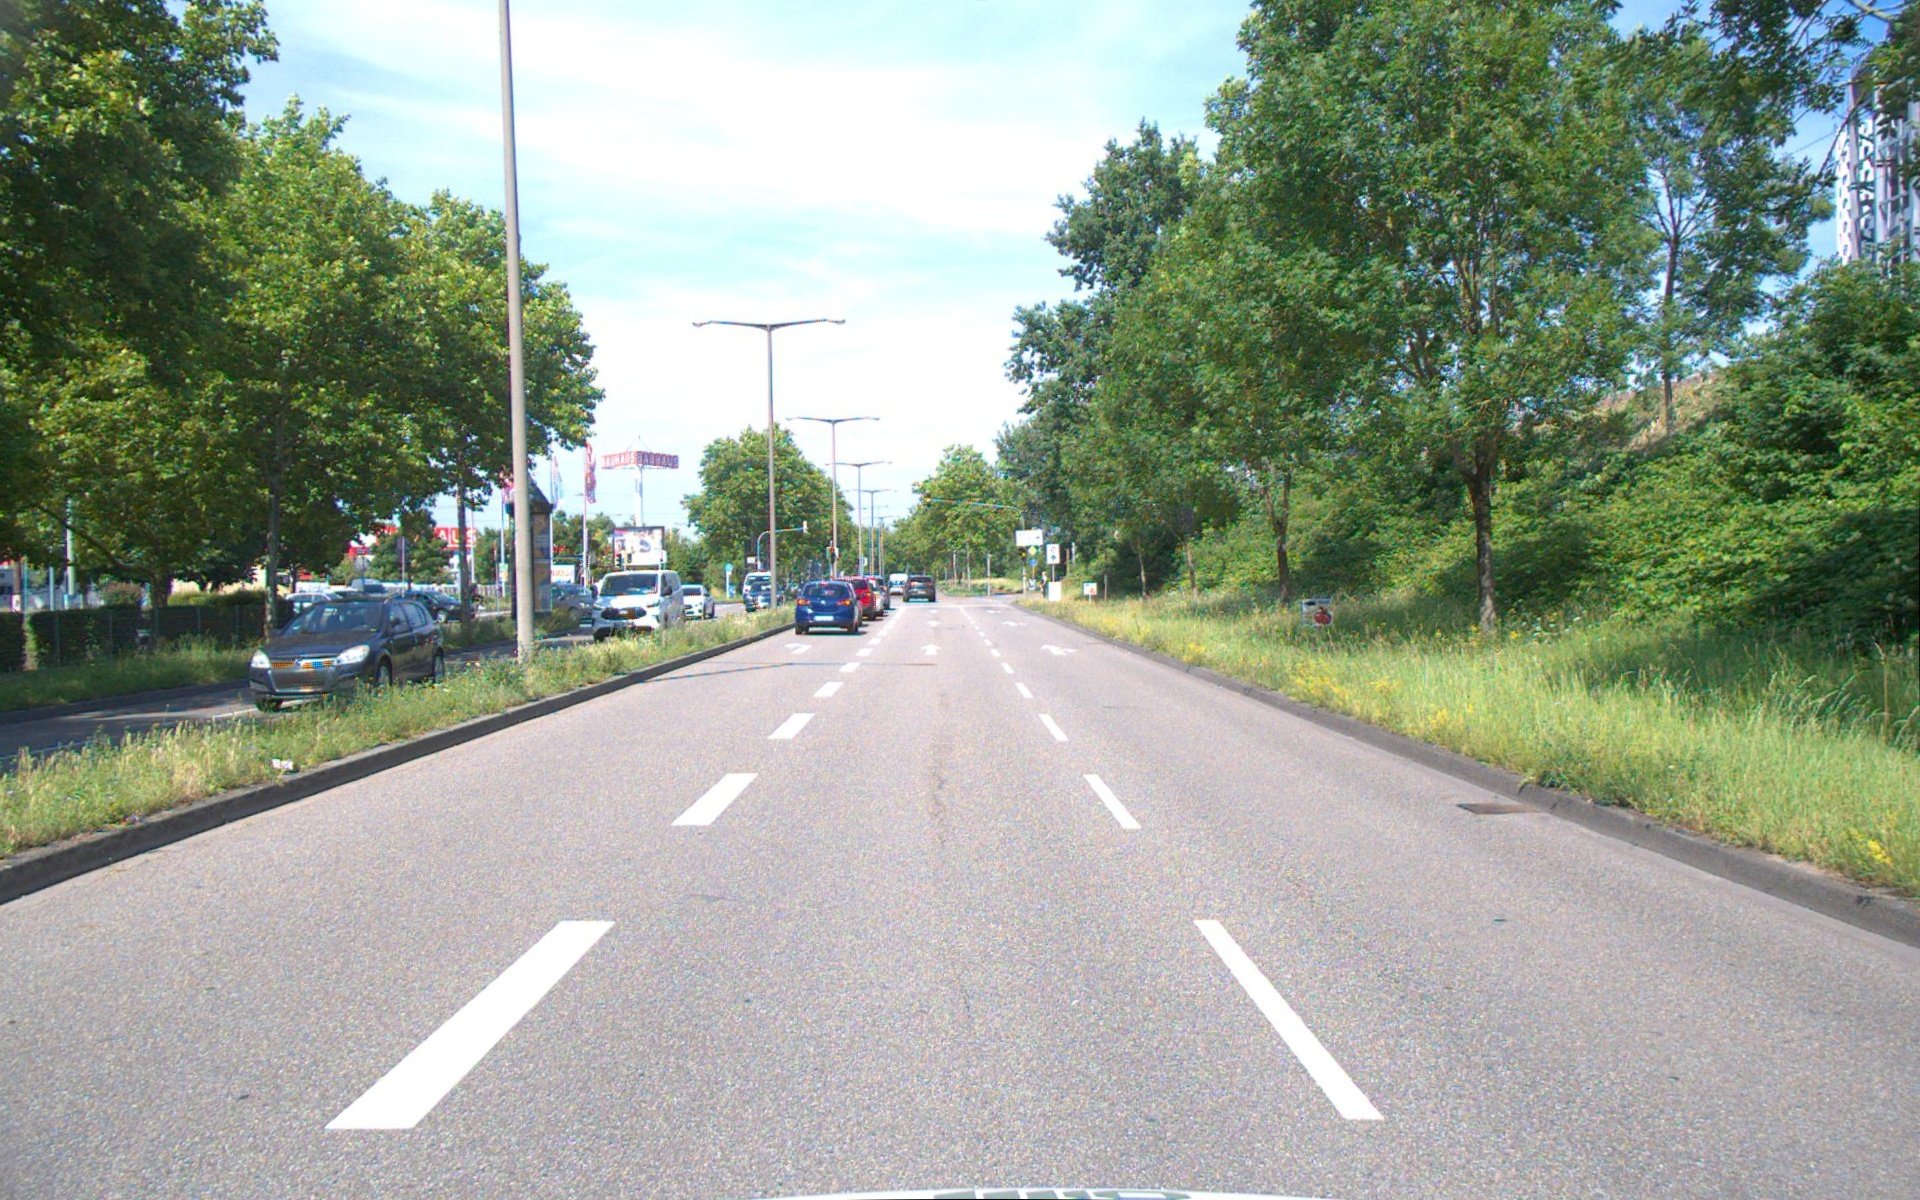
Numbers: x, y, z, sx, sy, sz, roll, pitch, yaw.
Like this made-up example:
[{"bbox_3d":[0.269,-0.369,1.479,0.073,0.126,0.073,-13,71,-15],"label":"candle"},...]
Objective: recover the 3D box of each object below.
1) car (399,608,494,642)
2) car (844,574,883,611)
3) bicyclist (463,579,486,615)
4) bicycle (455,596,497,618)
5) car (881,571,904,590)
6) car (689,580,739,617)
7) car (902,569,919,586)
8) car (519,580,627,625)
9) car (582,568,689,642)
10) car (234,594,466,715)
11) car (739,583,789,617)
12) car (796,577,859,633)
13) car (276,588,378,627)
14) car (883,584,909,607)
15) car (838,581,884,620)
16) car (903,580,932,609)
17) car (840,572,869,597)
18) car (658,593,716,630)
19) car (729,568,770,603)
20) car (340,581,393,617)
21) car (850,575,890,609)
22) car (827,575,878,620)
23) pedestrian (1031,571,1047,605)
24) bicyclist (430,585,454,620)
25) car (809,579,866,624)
[{"bbox_3d":[-23.111,1.109,74.428,3.908,1.412,1.764,-1,2,26],"label":"car"},{"bbox_3d":[-4.357,-0.325,75.195,1.595,1.623,3.917,-1,0,-2],"label":"car"},{"bbox_3d":[-24.585,-0.173,83.702,0.890,1.745,0.772,-3,3,-37],"label":"bicyclist"},{"bbox_3d":[-24.515,0.336,83.783,1.934,1.000,0.779,-3,3,-37],"label":"bicycle"},{"bbox_3d":[-6.377,-1.817,156.192,1.953,1.738,4.263,-1,1,-1],"label":"car"},{"bbox_3d":[-12.183,-0.083,82.112,1.937,1.722,3.998,-2,0,-2],"label":"car"},{"bbox_3d":[-6.386,-2.850,211.490,1.954,2.049,3.996,-1,1,-5],"label":"car"},{"bbox_3d":[-16.528,0.100,70.559,4.301,1.781,1.866,-1,1,29],"label":"car"},{"bbox_3d":[-9.098,0.099,46.852,2.074,1.916,5.417,-2,1,-2],"label":"car"},{"bbox_3d":[-8.541,0.694,23.569,1.732,1.494,4.283,-2,0,-1],"label":"car"},{"bbox_3d":[-9.739,-0.042,82.428,1.953,1.557,4.681,-2,1,-1],"label":"car"},{"bbox_3d":[-3.771,0.103,47.576,1.593,1.509,4.047,1,1,-2],"label":"car"},{"bbox_3d":[-29.065,0.324,75.983,4.061,1.631,1.724,-2,0,11],"label":"car"},{"bbox_3d":[-5.215,-0.373,135.473,1.953,1.774,4.264,-2,0,-1],"label":"car"},{"bbox_3d":[-4.064,-0.003,68.213,1.730,1.505,4.134,0,1,-2],"label":"car"},{"bbox_3d":[-2.584,-0.332,100.495,1.701,1.562,4.001,-1,3,-1],"label":"car"},{"bbox_3d":[-8.358,-1.216,131.307,1.953,1.892,4.000,-1,1,0],"label":"car"},{"bbox_3d":[-11.546,0.475,70.277,1.751,1.422,4.358,-2,0,-1],"label":"car"},{"bbox_3d":[-13.109,-0.937,103.297,1.953,2.048,5.212,-2,1,-1],"label":"car"},{"bbox_3d":[-44.525,-0.088,124.039,1.986,2.577,4.563,-2,1,-45],"label":"car"},{"bbox_3d":[-4.413,-0.408,81.854,1.843,1.646,4.211,-1,1,-2],"label":"car"},{"bbox_3d":[-4.031,-0.120,62.412,1.746,1.620,4.592,0,1,-2],"label":"car"},{"bbox_3d":[4.592,-0.691,95.807,0.821,1.966,0.771,-1,3,-5],"label":"pedestrian"},{"bbox_3d":[-25.659,0.117,81.871,0.890,1.675,0.778,-3,3,-37],"label":"bicyclist"},{"bbox_3d":[-4.040,0.015,55.236,1.668,1.414,4.471,0,1,-2],"label":"car"}]
